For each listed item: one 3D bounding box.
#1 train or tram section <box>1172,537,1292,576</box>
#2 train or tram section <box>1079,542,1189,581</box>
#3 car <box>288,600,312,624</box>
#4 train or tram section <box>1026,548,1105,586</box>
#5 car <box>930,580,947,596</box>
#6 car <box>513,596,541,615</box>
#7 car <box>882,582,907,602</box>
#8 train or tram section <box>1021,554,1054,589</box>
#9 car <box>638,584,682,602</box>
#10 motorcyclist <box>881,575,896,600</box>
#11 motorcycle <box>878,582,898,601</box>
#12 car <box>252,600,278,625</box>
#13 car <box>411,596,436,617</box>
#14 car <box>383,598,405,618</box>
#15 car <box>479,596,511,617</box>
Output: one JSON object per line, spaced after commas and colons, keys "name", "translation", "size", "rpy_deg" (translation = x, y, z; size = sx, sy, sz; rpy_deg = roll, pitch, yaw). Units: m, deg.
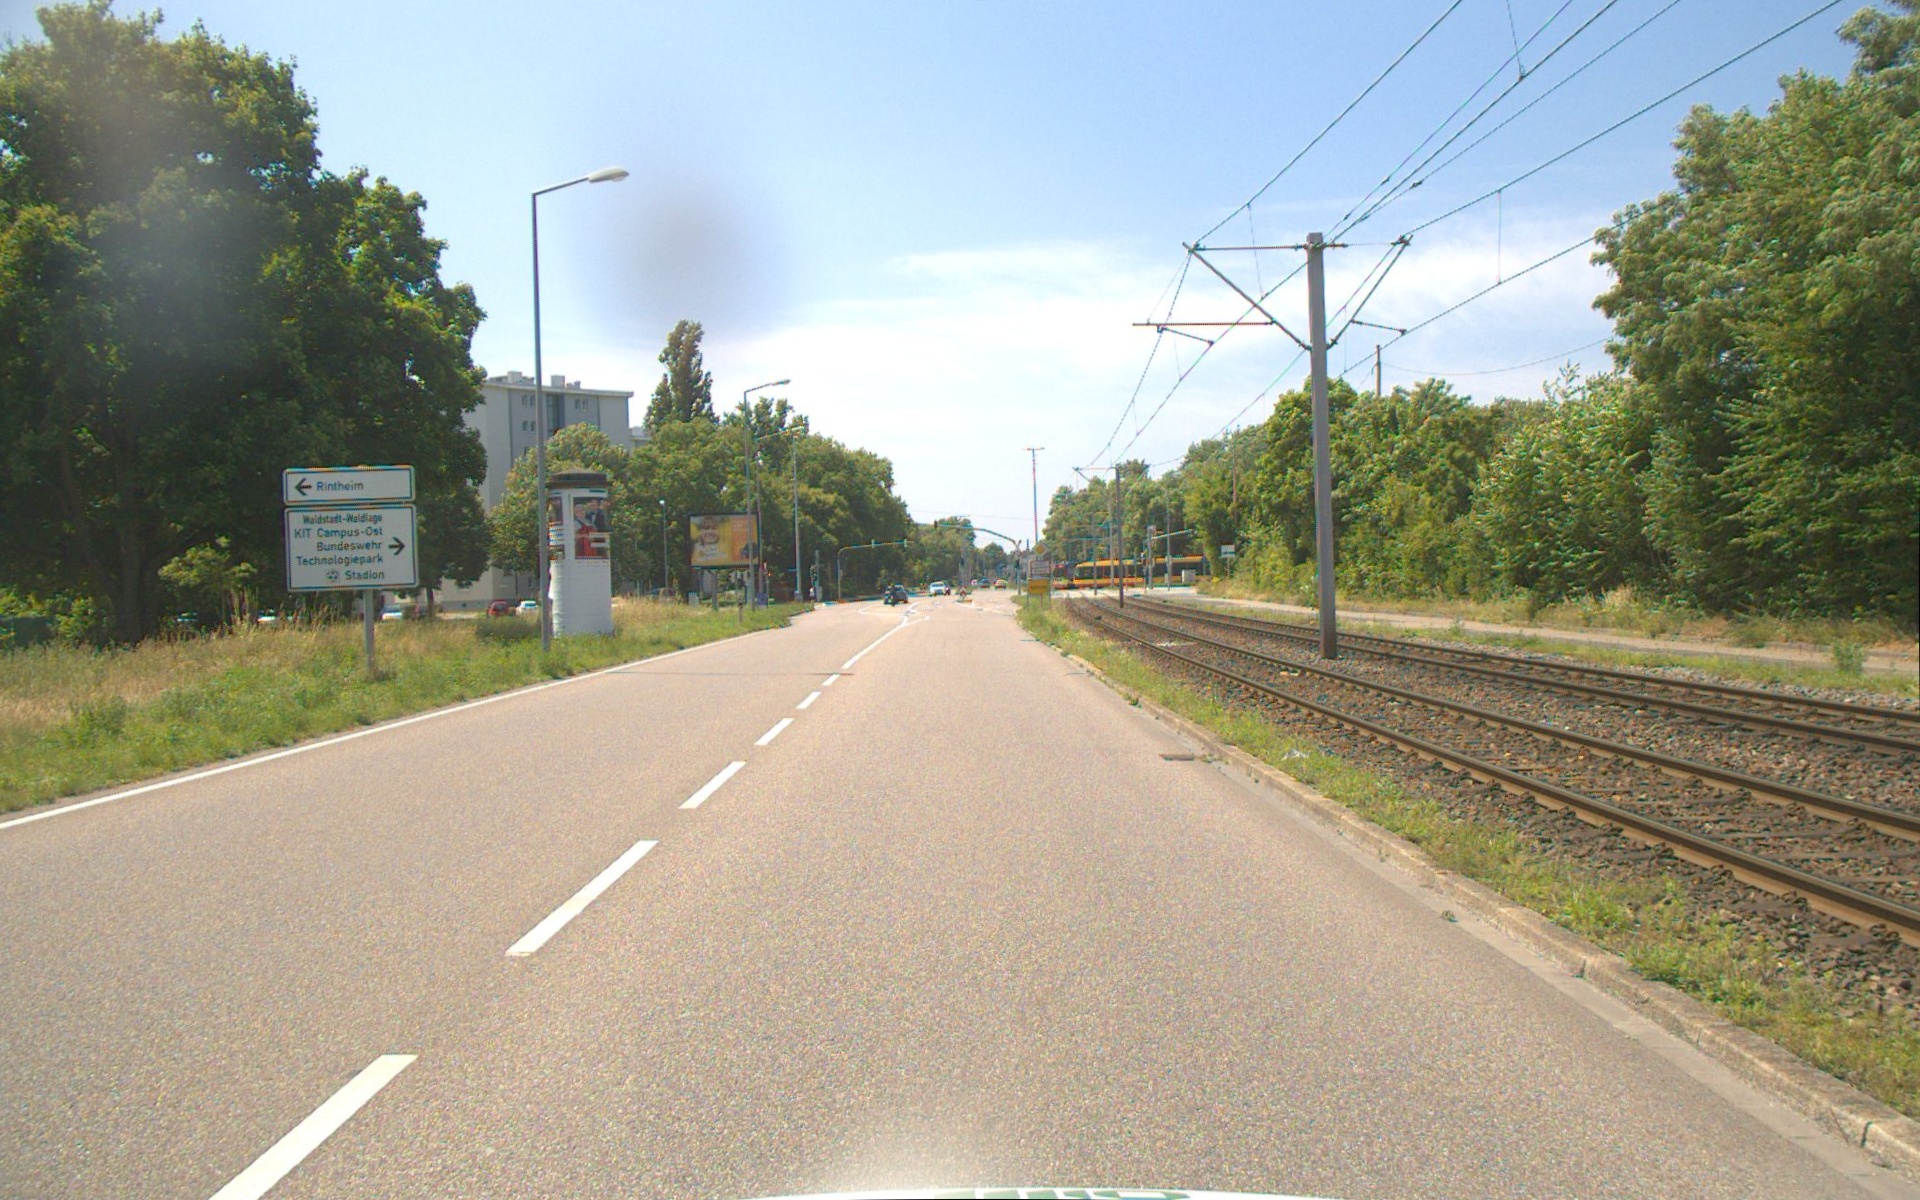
{"name": "train or tram section", "translation": [32.051, -5.042, 194.785], "size": [13.622, 3.988, 2.925], "rpy_deg": [-2, -2, 14]}
{"name": "train or tram section", "translation": [20.960, -4.597, 200.240], "size": [13.771, 3.988, 2.910], "rpy_deg": [-3, -3, 38]}
{"name": "car", "translation": [-55.511, 1.003, 139.135], "size": [1.820, 1.981, 3.974], "rpy_deg": [-1, 1, -21]}
{"name": "train or tram section", "translation": [13.155, -4.091, 208.525], "size": [2.884, 3.878, 13.314], "rpy_deg": [0, -3, -30]}
{"name": "car", "translation": [-2.377, -1.301, 182.508], "size": [1.748, 1.657, 3.866], "rpy_deg": [-2, 1, 1]}
{"name": "car", "translation": [-38.456, 0.454, 146.973], "size": [1.683, 1.620, 3.967], "rpy_deg": [-1, 1, -26]}
{"name": "car", "translation": [-5.088, -0.647, 129.144], "size": [1.868, 1.525, 4.629], "rpy_deg": [-1, 1, -1]}
{"name": "train or tram section", "translation": [10.169, -3.664, 218.921], "size": [2.857, 3.878, 13.062], "rpy_deg": [-1, -2, -4]}
{"name": "car", "translation": [-31.746, -0.762, 175.130], "size": [1.759, 1.798, 4.524], "rpy_deg": [-2, 1, 41]}
{"name": "motorcyclist", "translation": [-4.935, -0.874, 113.844], "size": [0.773, 1.671, 1.212], "rpy_deg": [-1, 0, 11]}
{"name": "motorcycle", "translation": [-4.933, -0.587, 113.768], "size": [0.829, 1.277, 2.451], "rpy_deg": [-1, 1, 11]}
{"name": "car", "translation": [-58.230, 1.059, 138.601], "size": [1.820, 1.981, 3.974], "rpy_deg": [-1, 1, -21]}
{"name": "car", "translation": [-46.699, 0.539, 144.017], "size": [1.820, 1.741, 3.975], "rpy_deg": [-1, 1, -21]}
{"name": "car", "translation": [-48.836, 0.660, 142.718], "size": [1.664, 1.589, 3.814], "rpy_deg": [-2, 1, -21]}
{"name": "car", "translation": [-41.067, 0.567, 146.069], "size": [1.826, 1.697, 3.961], "rpy_deg": [-3, 0, -29]}
